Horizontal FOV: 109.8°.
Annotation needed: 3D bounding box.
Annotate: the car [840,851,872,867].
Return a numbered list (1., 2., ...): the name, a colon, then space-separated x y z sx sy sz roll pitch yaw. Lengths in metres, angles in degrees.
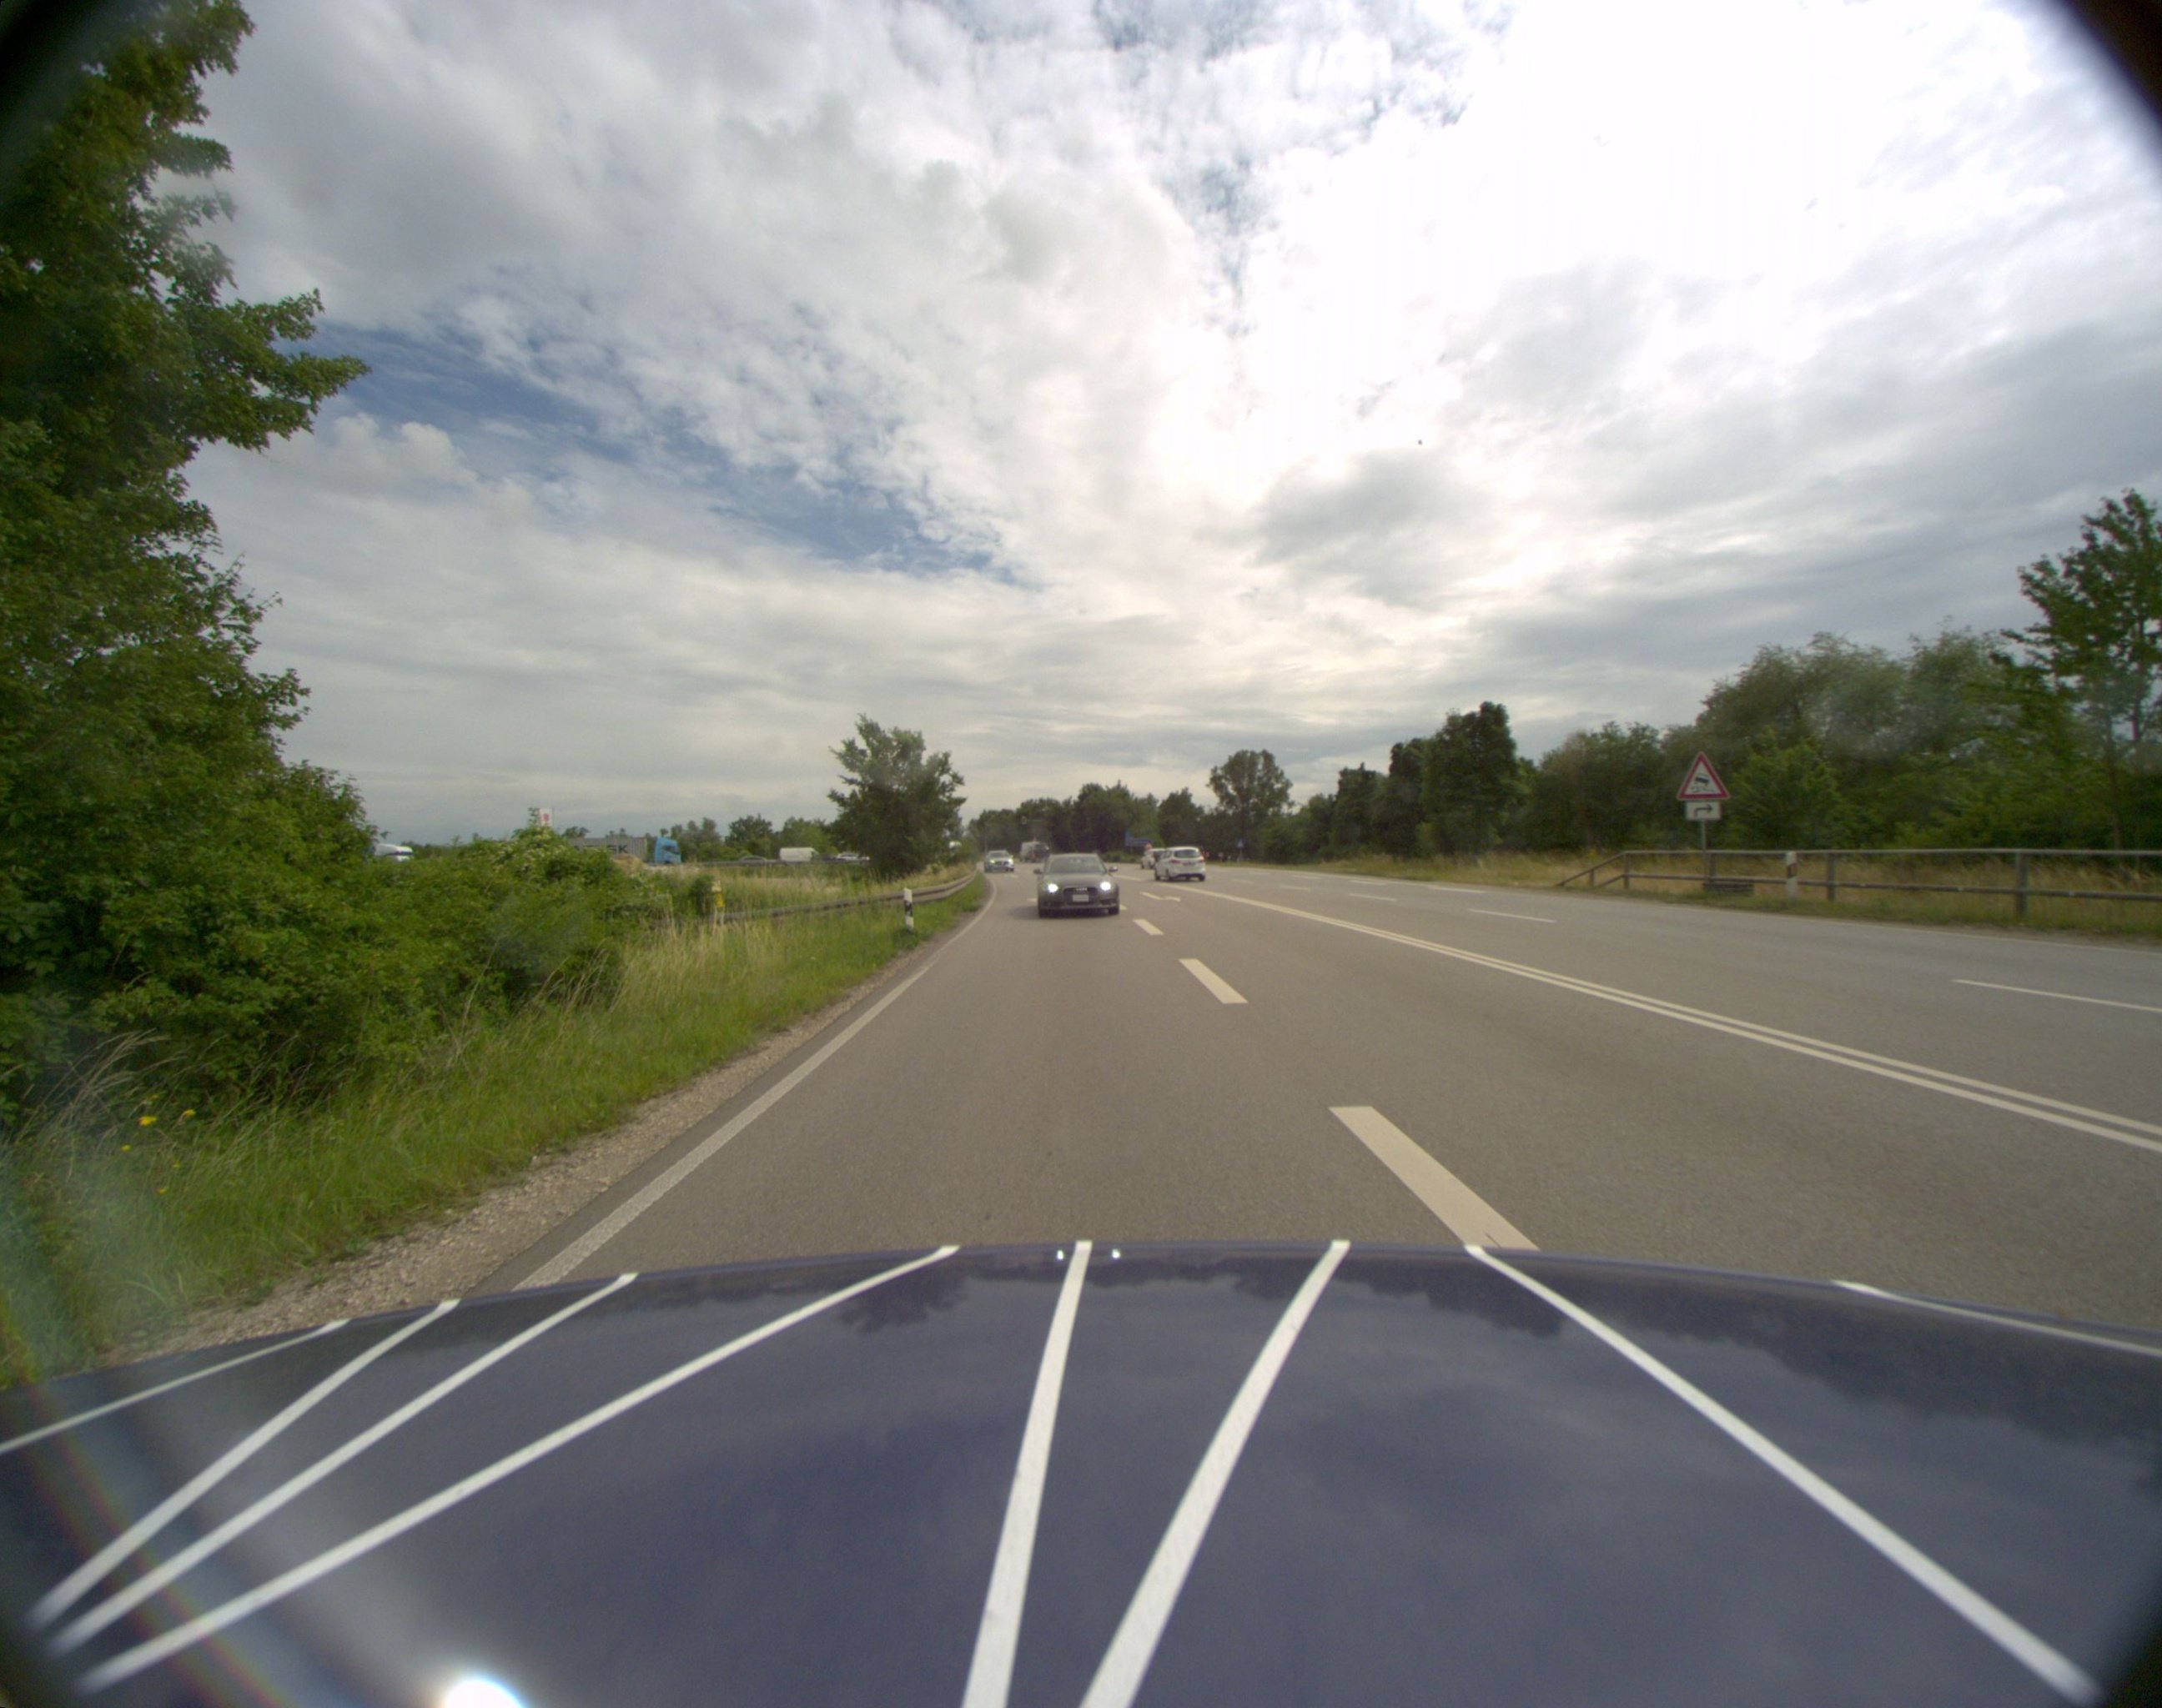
1. car: -30.755 0.660 103.661 4.003 2.002 1.996 -2 1 -20

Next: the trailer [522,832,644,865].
1. trailer: -56.493 -0.658 86.570 11.245 3.291 2.387 -3 1 -25

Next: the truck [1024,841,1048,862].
1. truck: -5.531 -0.312 93.211 2.030 2.430 5.018 -2 1 -13

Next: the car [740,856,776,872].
1. car: -40.389 1.240 95.082 4.004 2.002 1.928 -1 0 -22

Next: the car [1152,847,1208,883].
1. car: 4.551 0.456 35.390 1.735 1.509 3.998 -3 1 -5

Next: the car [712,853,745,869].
1. car: -48.088 0.994 103.673 4.004 2.002 1.928 -2 0 -22

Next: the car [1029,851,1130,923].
1. car: -0.161 0.723 18.724 1.958 1.527 3.997 -2 0 -8

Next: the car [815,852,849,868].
1. car: -32.014 0.772 97.650 4.004 2.002 1.928 -1 0 -22

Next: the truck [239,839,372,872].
1. truck: -84.927 0.145 83.322 11.751 3.036 2.391 -2 1 -1

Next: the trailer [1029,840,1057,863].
1. trailer: -4.467 -0.304 88.272 2.030 2.430 6.958 -2 1 -12

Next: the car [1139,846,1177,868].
1. car: 5.545 0.235 54.878 1.882 1.480 3.741 -2 0 -8

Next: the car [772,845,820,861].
1. car: -38.767 -0.185 103.371 5.903 2.002 2.057 -2 0 -22

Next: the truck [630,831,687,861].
1. truck: -49.823 -0.944 89.773 5.603 3.286 2.387 -3 1 -26

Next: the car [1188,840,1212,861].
1. car: 10.818 -0.299 69.170 1.997 1.787 4.322 -2 0 9

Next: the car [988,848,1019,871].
1. car: -5.947 0.428 57.852 2.022 1.603 4.276 -2 0 -10

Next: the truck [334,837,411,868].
1. truck: -77.773 -0.170 83.429 5.982 3.036 2.391 -2 1 -1
